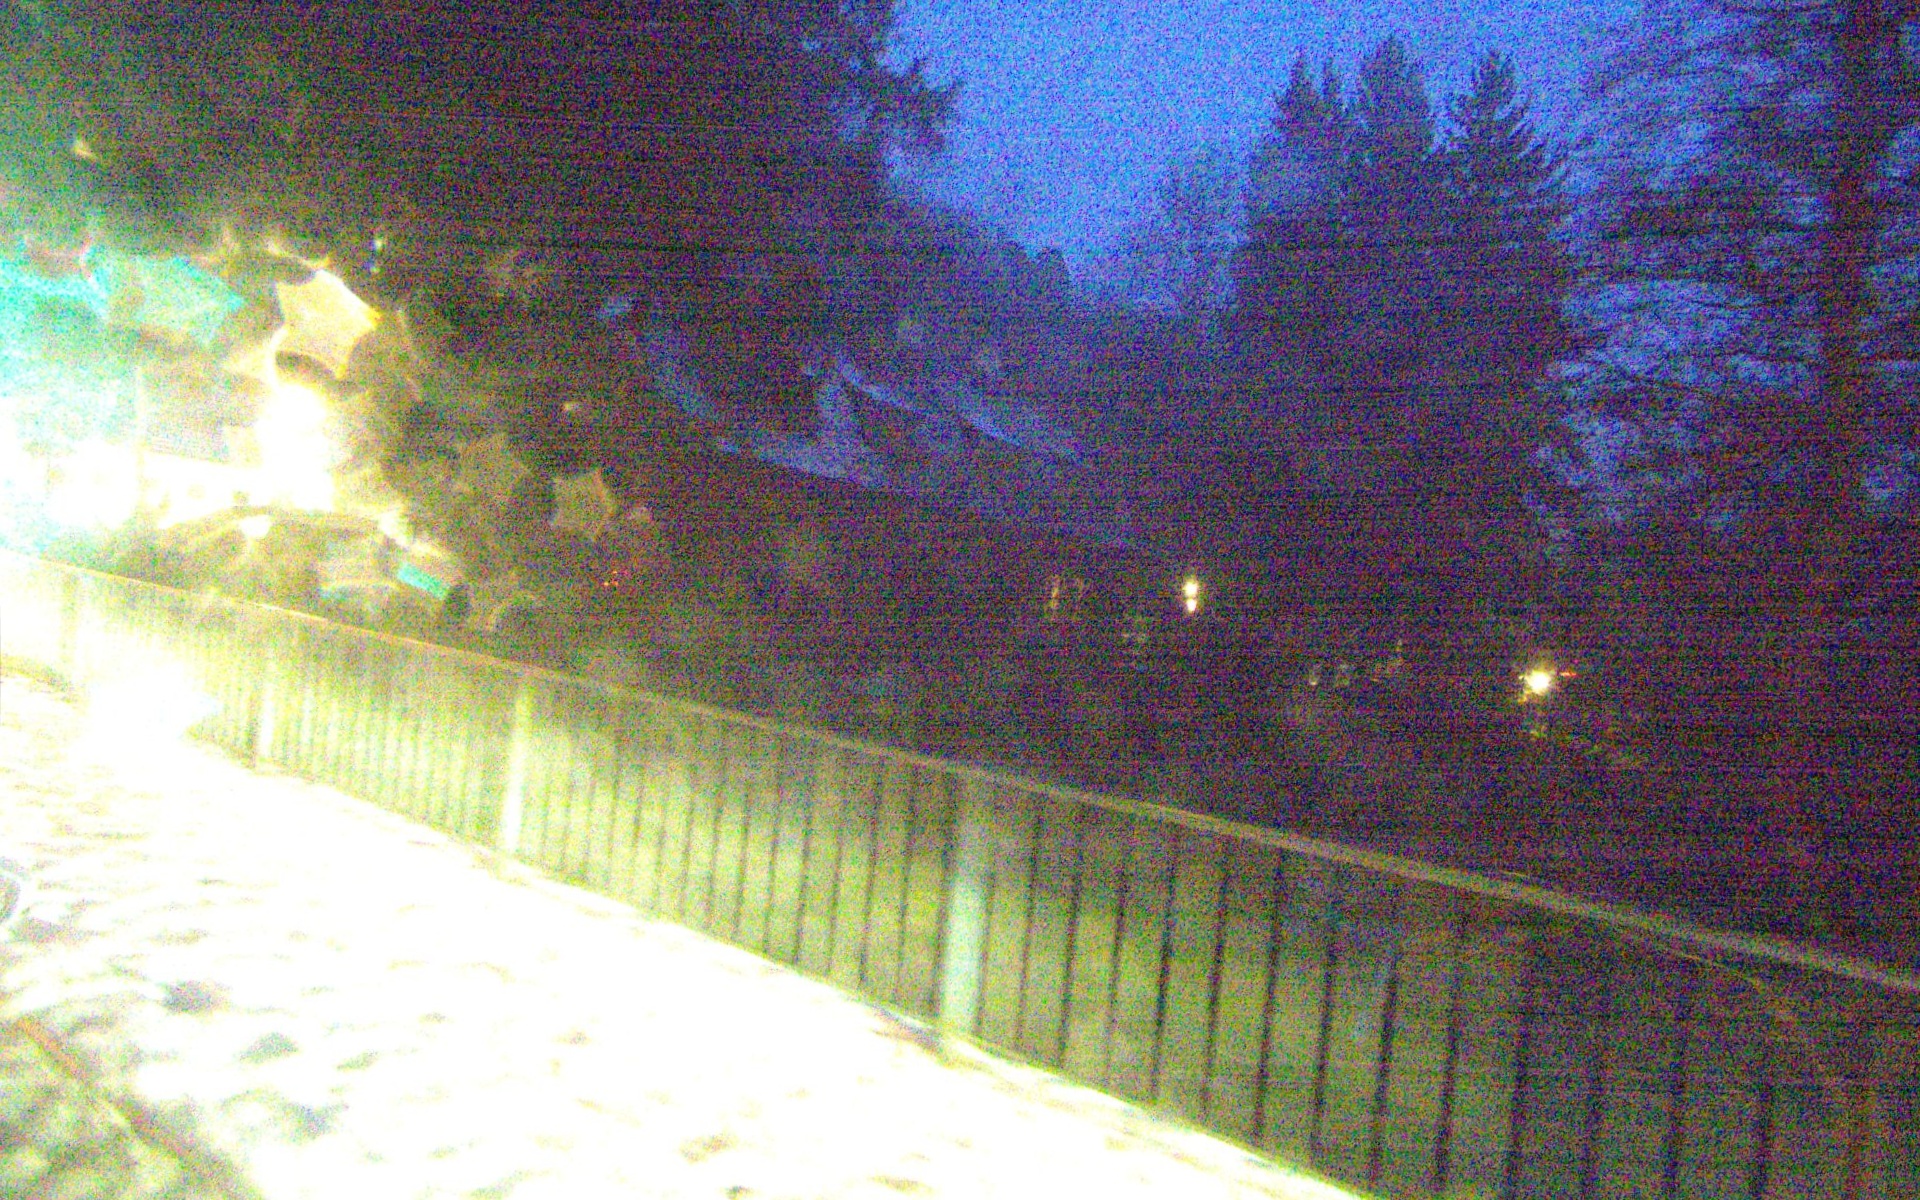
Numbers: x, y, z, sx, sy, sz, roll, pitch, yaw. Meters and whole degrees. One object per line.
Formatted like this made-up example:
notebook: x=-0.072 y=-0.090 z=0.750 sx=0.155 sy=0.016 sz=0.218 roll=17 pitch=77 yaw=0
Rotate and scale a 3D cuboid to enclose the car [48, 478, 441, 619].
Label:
car: x=-10.522 y=-0.695 z=15.049 sx=1.913 sy=1.607 sz=4.455 roll=8 pitch=2 yaw=42
